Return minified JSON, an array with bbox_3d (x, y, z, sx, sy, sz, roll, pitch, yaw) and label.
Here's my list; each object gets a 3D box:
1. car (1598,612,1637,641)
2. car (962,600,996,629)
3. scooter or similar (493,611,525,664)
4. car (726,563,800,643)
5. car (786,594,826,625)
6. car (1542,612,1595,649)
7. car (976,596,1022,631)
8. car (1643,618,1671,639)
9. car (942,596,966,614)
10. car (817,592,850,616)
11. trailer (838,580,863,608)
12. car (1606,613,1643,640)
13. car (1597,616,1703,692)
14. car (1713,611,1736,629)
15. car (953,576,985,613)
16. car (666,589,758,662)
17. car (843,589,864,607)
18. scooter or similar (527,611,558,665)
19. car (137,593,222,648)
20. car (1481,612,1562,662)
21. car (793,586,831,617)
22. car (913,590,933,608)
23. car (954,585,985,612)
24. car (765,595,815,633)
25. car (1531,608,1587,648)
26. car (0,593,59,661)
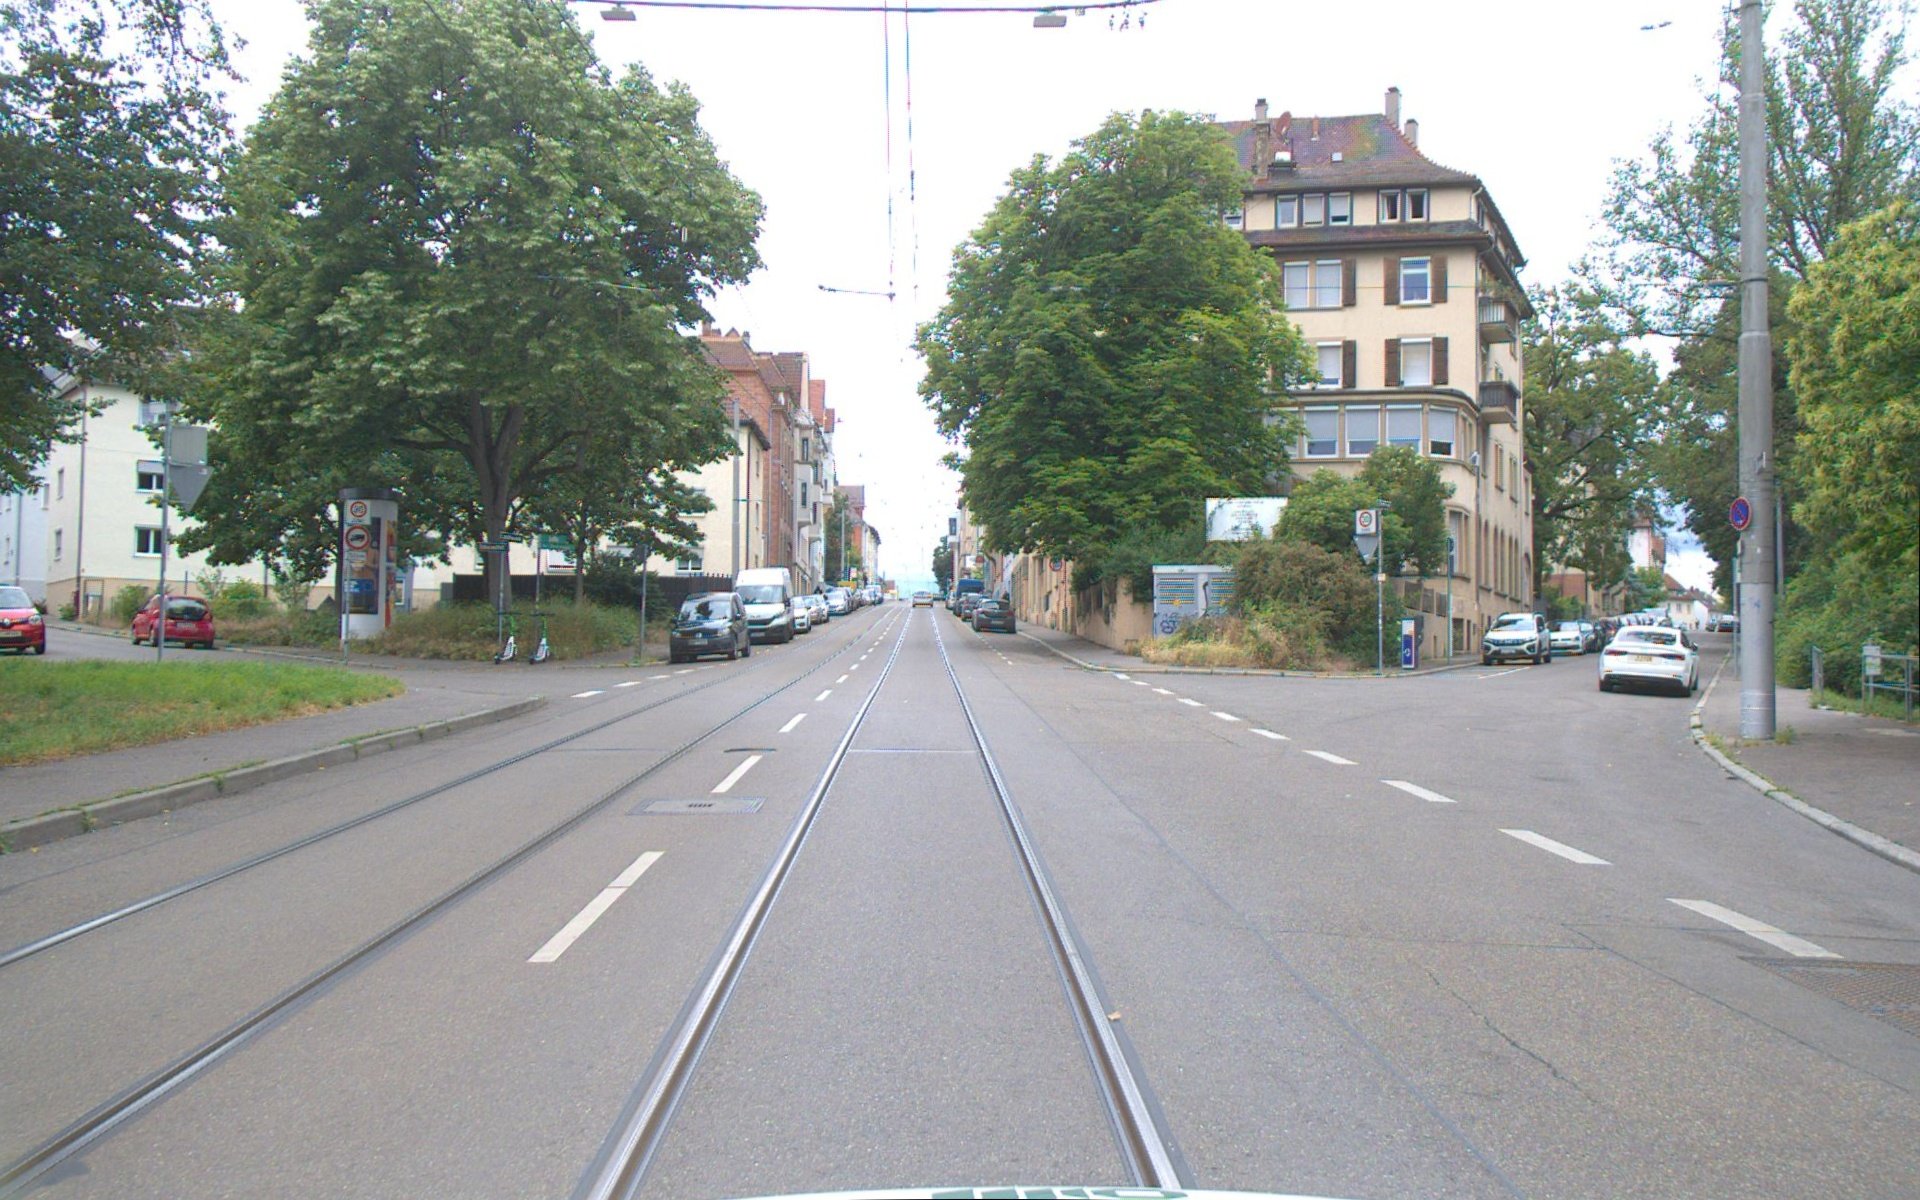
[{"bbox_3d":[37.231,1.509,93.653,1.710,1.568,3.783,-2,-2,27],"label":"car"},{"bbox_3d":[1.062,0.816,95.552,1.790,1.545,4.027,3,1,-1],"label":"car"},{"bbox_3d":[-10.536,0.861,38.702,0.305,1.165,1.717,1,2,-1],"label":"scooter or similar"},{"bbox_3d":[-7.027,0.080,59.651,2.115,2.652,6.216,-2,1,-3],"label":"car"},{"bbox_3d":[-7.699,0.473,82.912,1.568,1.392,3.807,-3,1,0],"label":"car"},{"bbox_3d":[26.425,1.331,71.753,1.710,1.568,3.783,-2,-2,27],"label":"car"},{"bbox_3d":[1.732,0.589,74.073,1.802,1.427,4.166,2,0,-1],"label":"car"},{"bbox_3d":[53.675,2.220,127.261,1.710,1.568,3.783,-2,-2,27],"label":"car"},{"bbox_3d":[-0.504,0.390,135.099,1.715,1.415,4.305,3,0,-2],"label":"car"},{"bbox_3d":[-8.139,0.235,106.800,1.790,1.454,4.838,-2,1,-1],"label":"car"},{"bbox_3d":[-8.665,-0.487,130.777,1.713,2.193,4.071,-2,1,-1],"label":"trailer"},{"bbox_3d":[39.384,1.564,97.936,1.710,1.568,3.783,-2,-2,27],"label":"car"},{"bbox_3d":[15.029,1.119,35.904,1.857,1.405,4.596,3,1,25],"label":"car"},{"bbox_3d":[68.829,1.801,148.895,1.710,1.568,3.783,-2,-2,27],"label":"car"},{"bbox_3d":[0.595,-0.359,113.143,1.953,2.418,5.054,1,0,-1],"label":"car"},{"bbox_3d":[-6.745,0.667,45.354,1.726,1.806,4.668,-3,0,0],"label":"car"},{"bbox_3d":[-9.155,-0.138,142.503,1.662,1.494,3.023,-2,0,-1],"label":"car"},{"bbox_3d":[-9.806,0.876,38.867,0.305,1.165,1.717,1,2,-1],"label":"scooter or similar"},{"bbox_3d":[-22.224,0.576,47.049,1.633,1.440,3.687,2,0,-34],"label":"car"},{"bbox_3d":[18.182,1.172,53.434,1.805,1.561,4.498,0,-1,28],"label":"car"},{"bbox_3d":[-7.808,0.054,87.434,1.791,1.454,4.625,-3,1,-3],"label":"car"},{"bbox_3d":[-3.278,-0.064,145.141,1.638,1.539,3.795,0,0,-2],"label":"car"},{"bbox_3d":[0.620,-0.098,107.556,1.744,1.557,4.190,4,0,-2],"label":"car"},{"bbox_3d":[-7.117,0.566,69.445,1.684,1.427,4.312,-2,1,-1],"label":"car"},{"bbox_3d":[24.537,1.161,67.659,1.710,1.568,3.783,-2,-2,27],"label":"car"},{"bbox_3d":[-22.217,0.595,38.377,1.732,1.503,3.565,2,0,-38],"label":"car"}]
